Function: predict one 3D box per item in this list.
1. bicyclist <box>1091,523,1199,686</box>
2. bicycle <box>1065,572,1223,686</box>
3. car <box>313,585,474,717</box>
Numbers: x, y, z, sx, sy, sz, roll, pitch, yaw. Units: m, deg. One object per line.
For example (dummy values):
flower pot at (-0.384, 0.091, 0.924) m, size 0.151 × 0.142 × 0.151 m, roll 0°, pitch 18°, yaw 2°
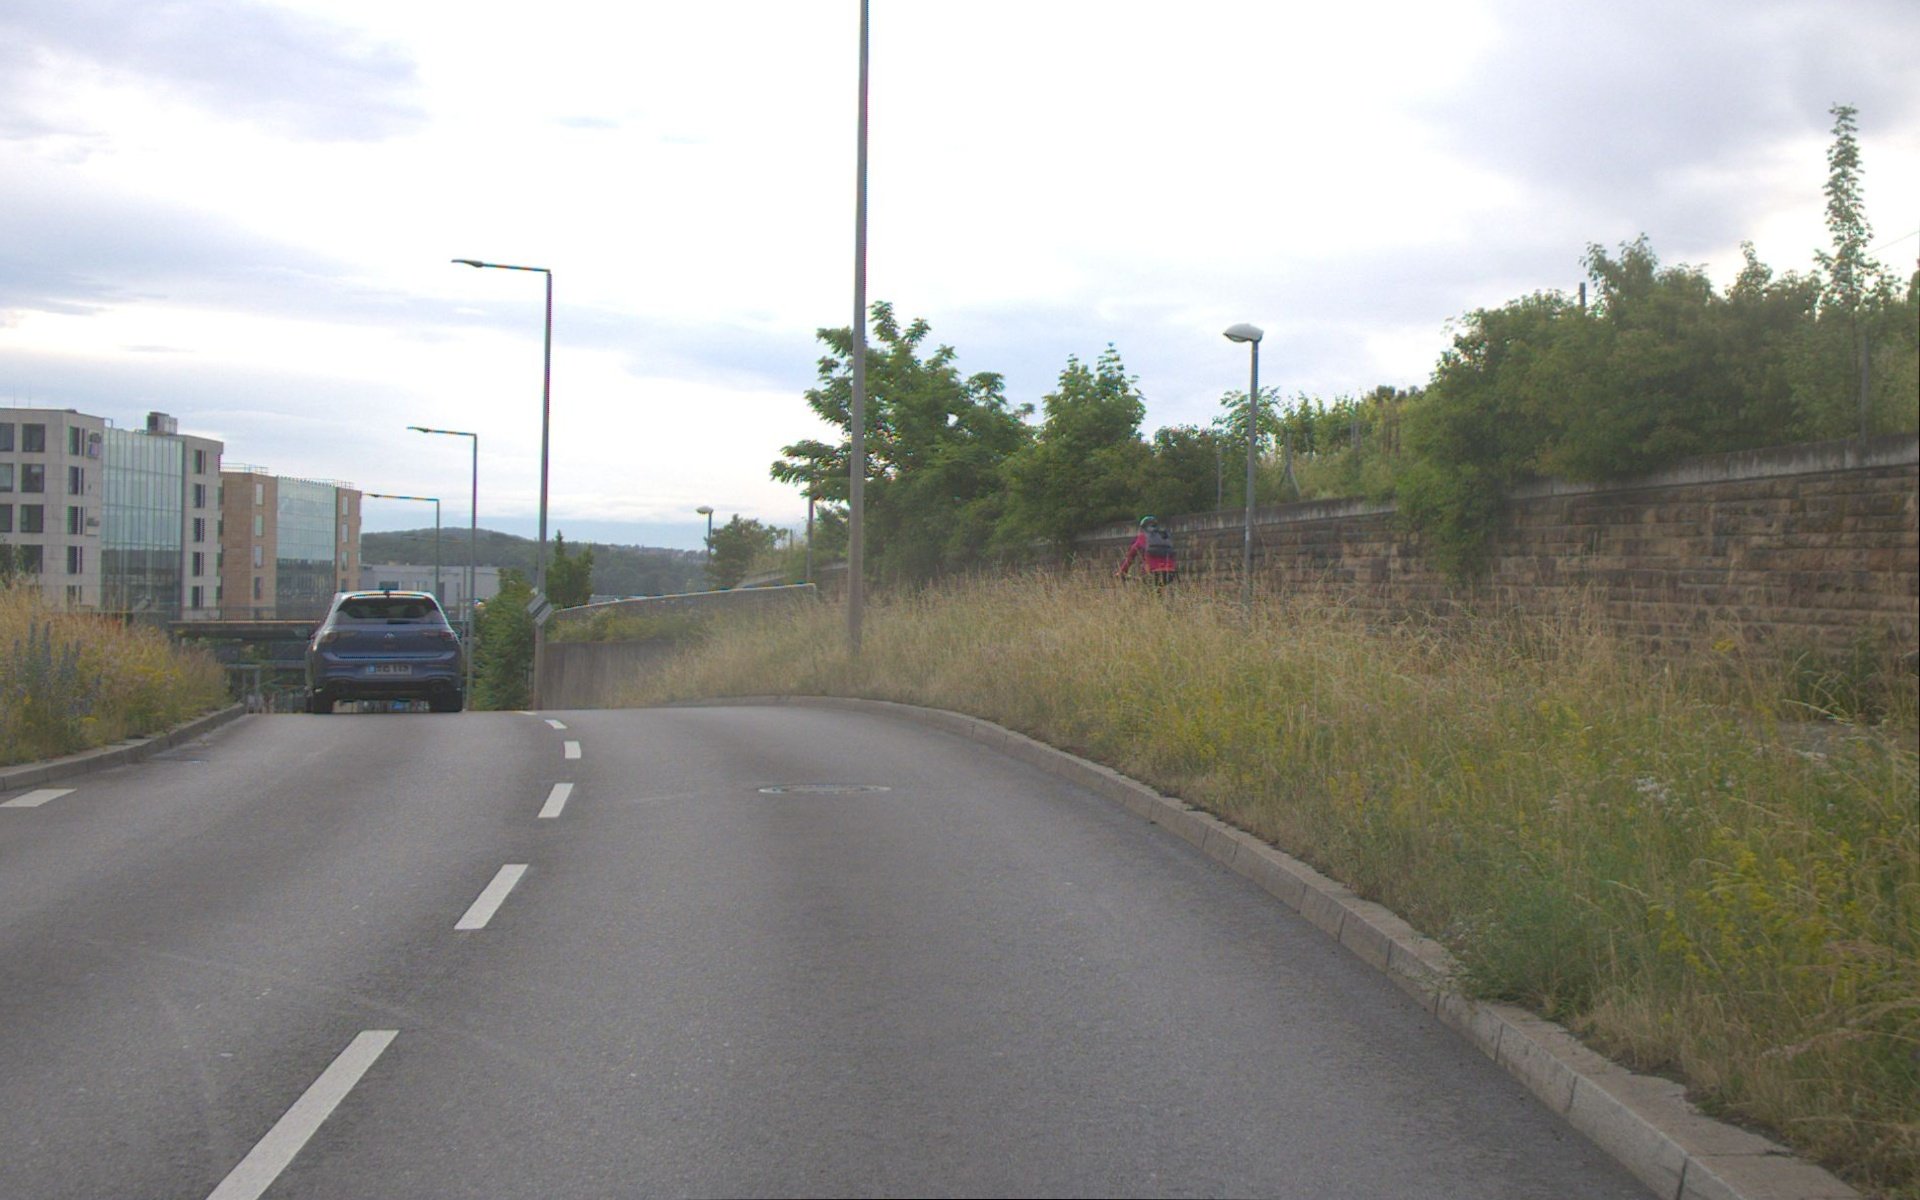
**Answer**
bicyclist at (2.224, 0.056, 41.551) m, size 0.869 × 1.902 × 1.294 m, roll 3°, pitch -1°, yaw -14°
bicycle at (2.192, 0.346, 41.630) m, size 0.869 × 1.284 × 3.488 m, roll 3°, pitch -1°, yaw -14°
car at (-6.773, 0.580, 41.114) m, size 1.748 × 1.415 × 3.479 m, roll 3°, pitch 0°, yaw -10°
